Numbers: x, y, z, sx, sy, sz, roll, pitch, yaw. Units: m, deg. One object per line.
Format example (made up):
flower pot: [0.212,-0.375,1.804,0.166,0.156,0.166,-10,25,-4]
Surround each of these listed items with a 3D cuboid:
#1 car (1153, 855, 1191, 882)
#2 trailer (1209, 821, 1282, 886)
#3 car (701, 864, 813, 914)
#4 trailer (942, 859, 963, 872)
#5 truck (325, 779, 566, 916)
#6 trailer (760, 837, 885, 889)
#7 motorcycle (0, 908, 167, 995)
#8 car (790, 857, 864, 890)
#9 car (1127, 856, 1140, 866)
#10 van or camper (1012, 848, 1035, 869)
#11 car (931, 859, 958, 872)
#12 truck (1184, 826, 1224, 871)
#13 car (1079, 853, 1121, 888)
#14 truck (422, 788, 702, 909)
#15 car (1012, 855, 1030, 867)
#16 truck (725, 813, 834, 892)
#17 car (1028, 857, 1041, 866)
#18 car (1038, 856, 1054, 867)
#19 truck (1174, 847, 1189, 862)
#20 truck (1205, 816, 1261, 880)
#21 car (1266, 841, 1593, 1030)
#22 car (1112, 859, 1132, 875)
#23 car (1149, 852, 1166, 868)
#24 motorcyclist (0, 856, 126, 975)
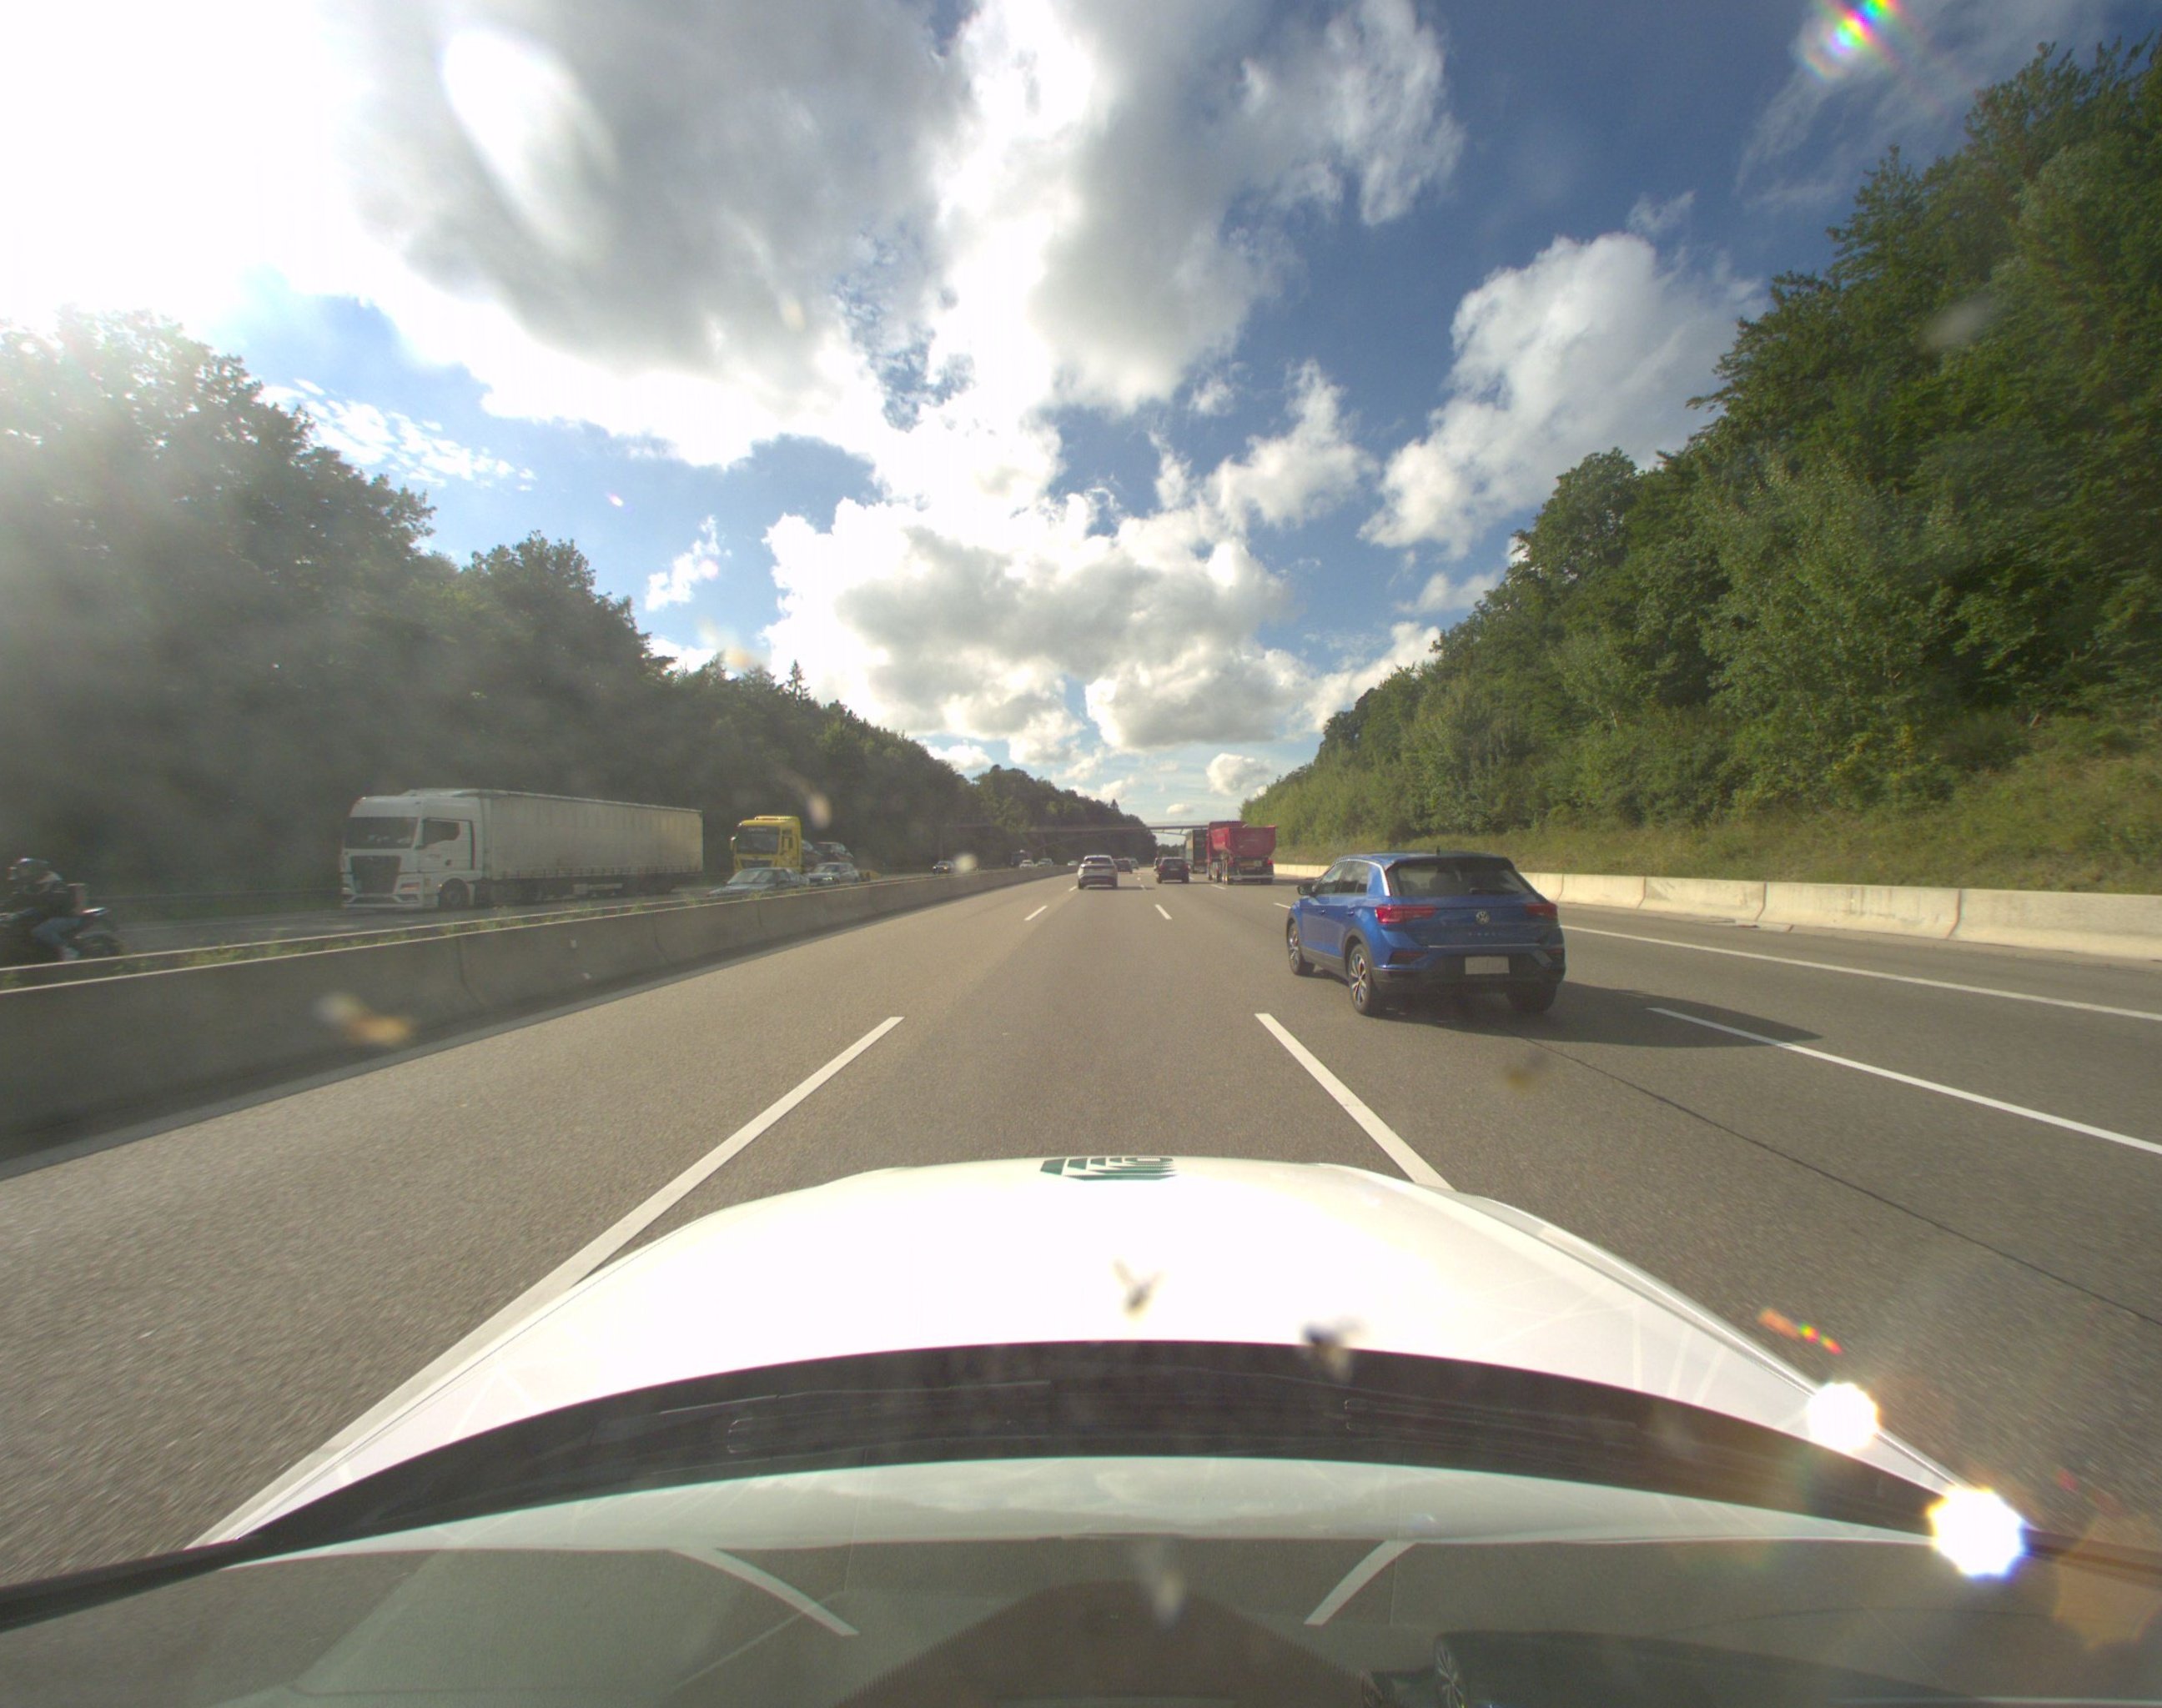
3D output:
car: [5.267,0.828,47.617,1.816,1.457,4.001,-1,0,1]
trailer: [9.101,-0.027,46.201,2.698,3.231,9.741,-1,0,3]
car: [-9.565,0.985,24.395,1.678,1.307,4.197,-1,0,0]
trailer: [-14.981,1.312,95.223,1.652,1.413,3.713,-1,0,3]
truck: [-21.020,-0.188,27.564,2.695,4.068,6.603,-1,0,3]
trailer: [-15.425,0.497,50.164,2.765,2.720,13.322,-1,0,3]
motorcycle: [-13.495,1.256,10.651,0.480,0.956,2.252,-1,0,2]
car: [-12.463,0.935,40.320,1.986,1.486,4.985,-1,0,2]
car: [7.769,1.054,120.081,1.814,1.457,4.004,-1,0,4]
van or camper: [-8.864,0.737,126.525,2.548,3.125,7.340,-1,0,3]
car: [-15.211,1.263,90.878,1.804,1.390,4.941,-1,0,4]
truck: [11.435,-0.458,76.655,3.103,3.935,10.426,-1,0,5]
car: [1.023,0.799,41.224,1.998,1.616,5.304,-1,0,3]
truck: [-20.637,-0.181,34.133,2.695,4.068,13.099,-1,0,3]
car: [-7.979,0.974,108.516,1.807,1.535,4.320,-1,0,3]
truck: [-15.774,-0.060,43.209,2.765,3.810,7.139,-1,0,3]
car: [-8.617,1.363,151.417,1.837,1.744,4.262,-1,0,3]
car: [-5.306,1.141,124.432,1.914,1.540,4.706,-1,0,3]
truck: [19.771,0.133,160.057,2.829,2.925,8.403,-1,0,7]
truck: [9.415,-0.364,51.112,2.698,3.718,5.822,-1,0,3]
car: [3.434,0.685,9.065,1.767,1.530,4.458,-2,0,1]
car: [4.078,1.272,80.040,1.814,1.546,4.005,0,0,4]
car: [9.093,0.681,97.292,1.886,1.857,4.103,-1,0,3]
motorcyclist: [-13.523,0.765,10.668,0.751,1.476,1.075,-1,0,1]
